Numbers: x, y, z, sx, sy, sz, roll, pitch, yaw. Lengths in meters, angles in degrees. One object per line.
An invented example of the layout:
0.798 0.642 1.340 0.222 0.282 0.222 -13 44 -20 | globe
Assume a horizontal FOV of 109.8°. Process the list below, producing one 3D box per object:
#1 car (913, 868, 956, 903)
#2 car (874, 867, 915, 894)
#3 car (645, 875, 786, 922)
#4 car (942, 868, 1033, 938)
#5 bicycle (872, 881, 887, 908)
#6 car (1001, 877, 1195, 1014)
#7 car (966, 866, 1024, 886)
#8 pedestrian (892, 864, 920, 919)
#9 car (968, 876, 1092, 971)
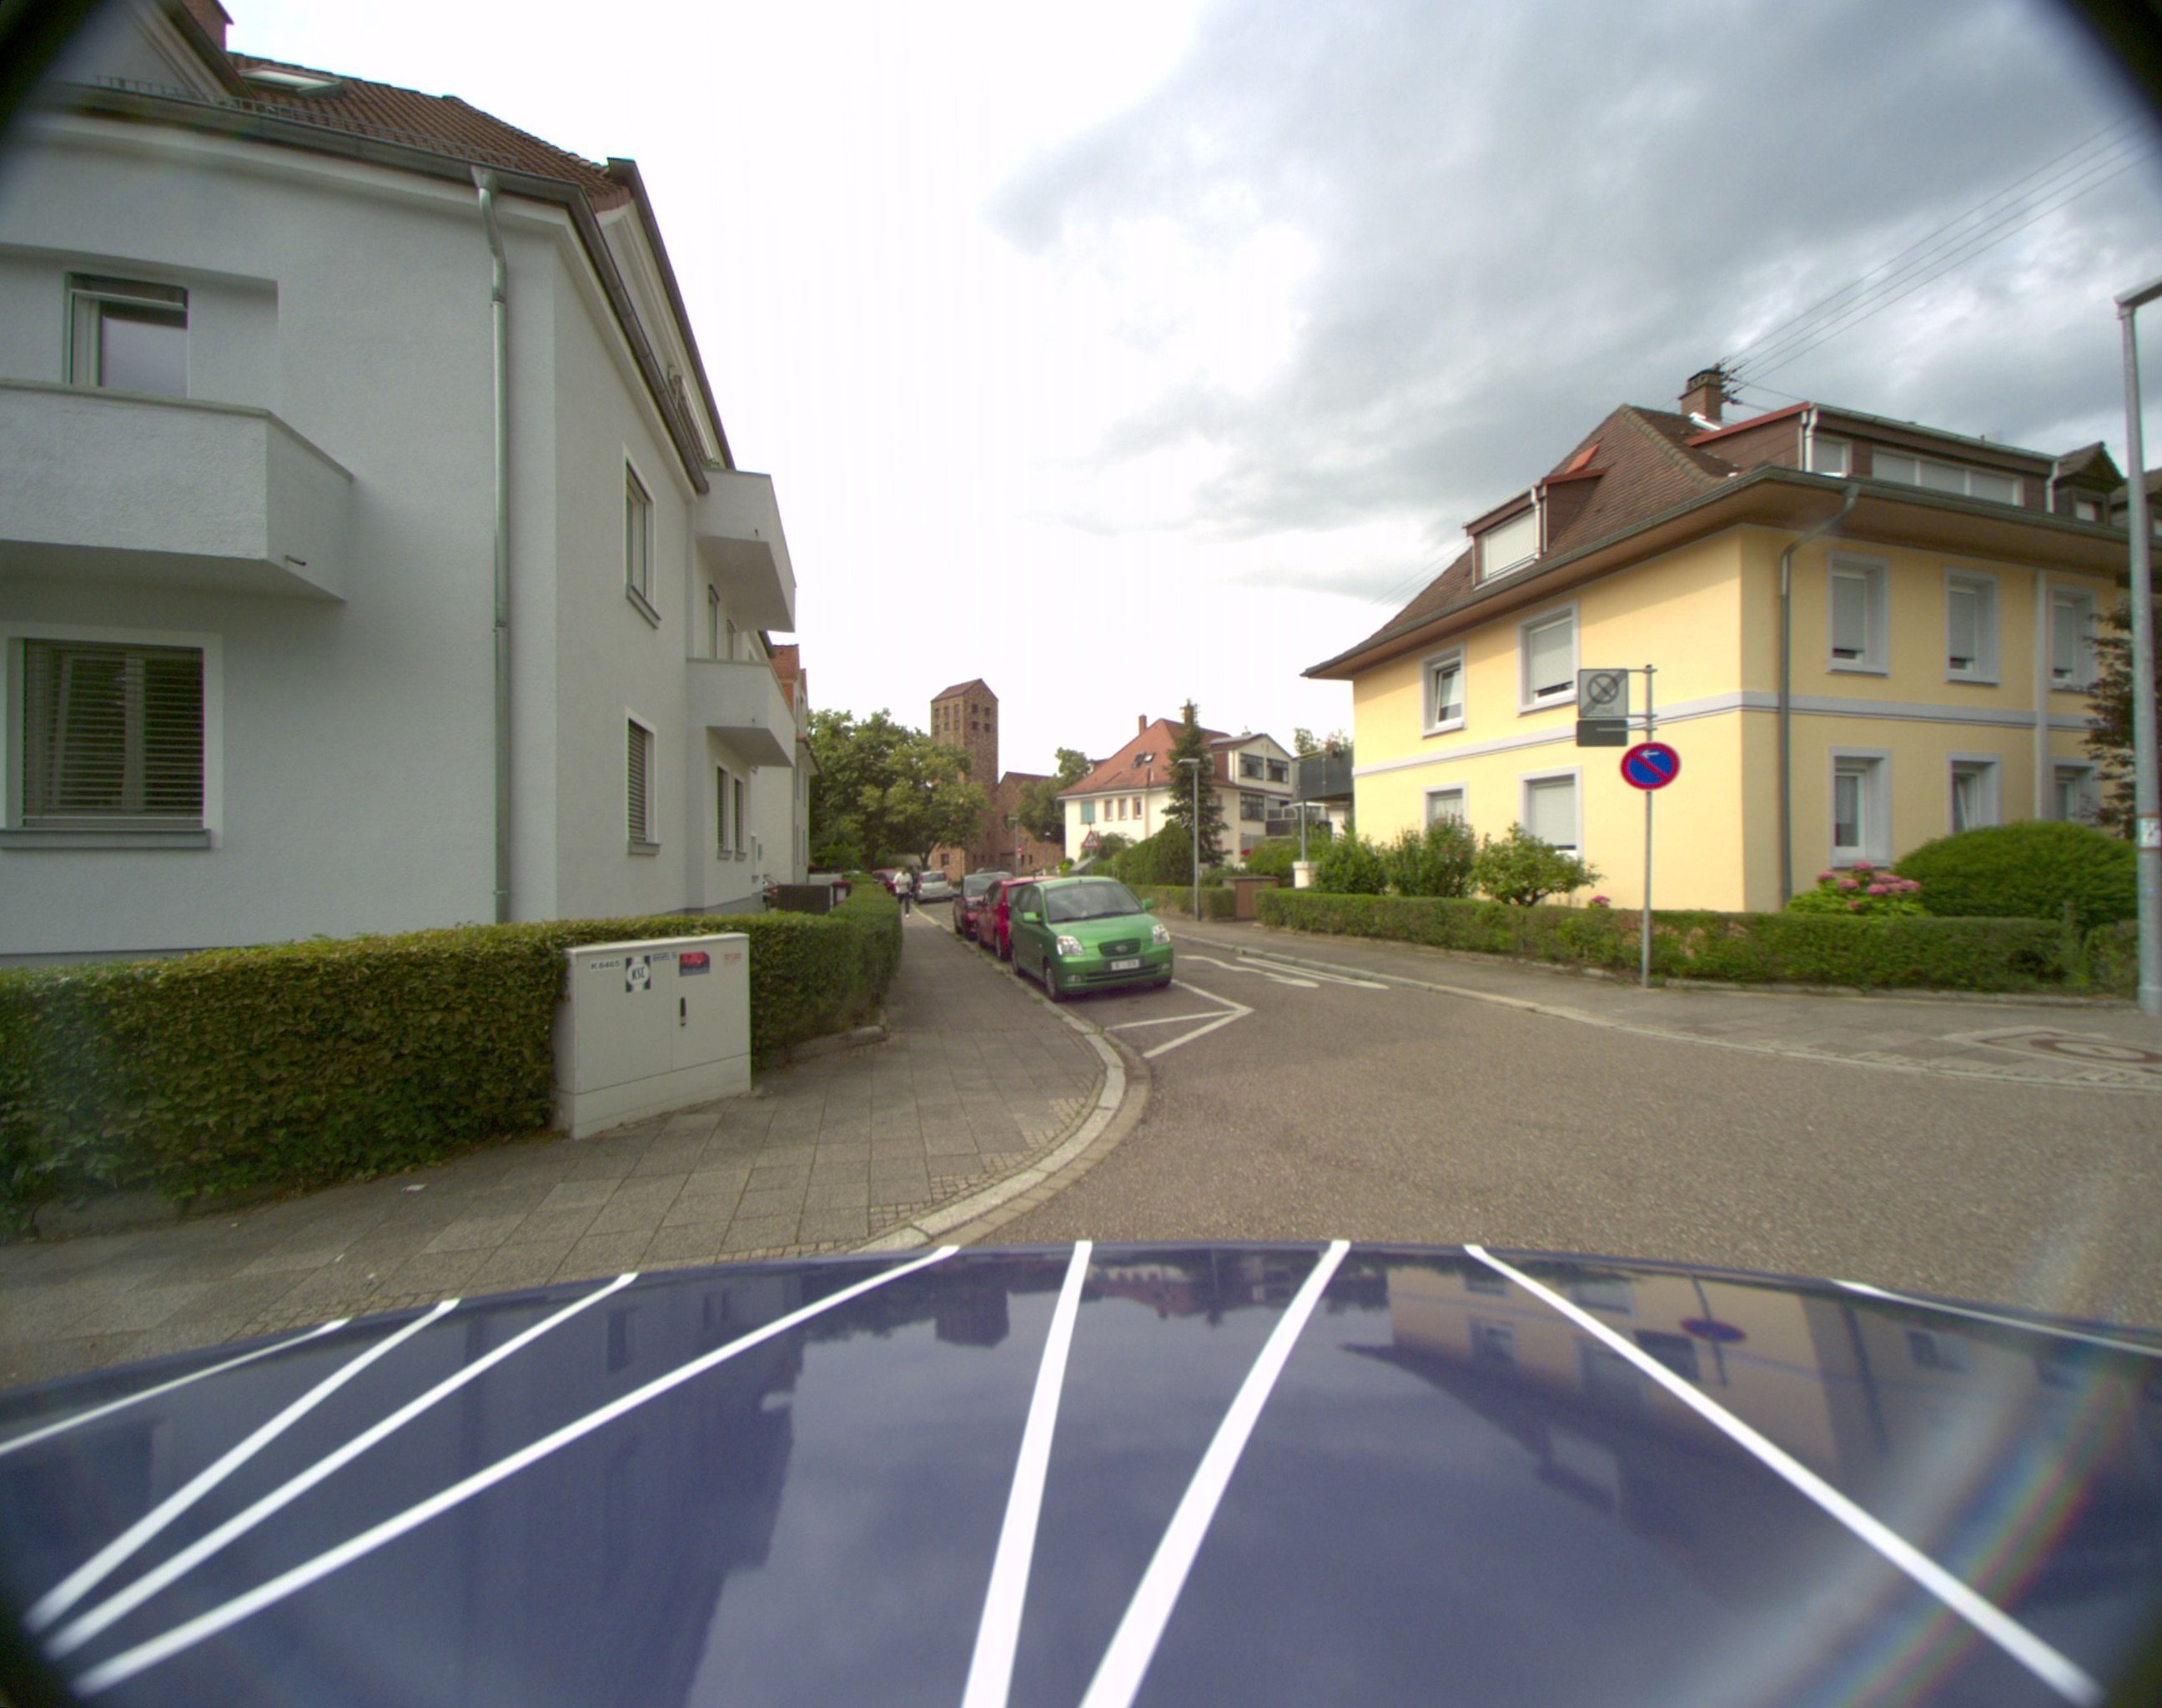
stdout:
-7.185 1.505 37.015 1.652 1.487 3.477 -4 0 -16 | car
-11.251 1.582 45.755 1.653 1.487 3.475 -4 0 -25 | car
-12.217 1.459 25.692 4.002 1.455 1.998 0 -1 -15 | car
-2.451 1.146 19.223 1.652 1.487 3.477 -4 0 -16 | car
-8.760 1.730 33.001 0.423 1.097 2.112 0 0 -20 | bicycle
0.057 1.107 10.649 1.652 1.413 3.477 -4 0 -16 | car
-6.717 1.675 59.331 4.230 1.456 1.681 0 1 -16 | car
-6.095 1.270 26.442 0.884 1.867 1.077 -1 0 -15 | pedestrian
-1.126 1.266 15.094 1.652 1.487 3.477 -4 0 -16 | car
